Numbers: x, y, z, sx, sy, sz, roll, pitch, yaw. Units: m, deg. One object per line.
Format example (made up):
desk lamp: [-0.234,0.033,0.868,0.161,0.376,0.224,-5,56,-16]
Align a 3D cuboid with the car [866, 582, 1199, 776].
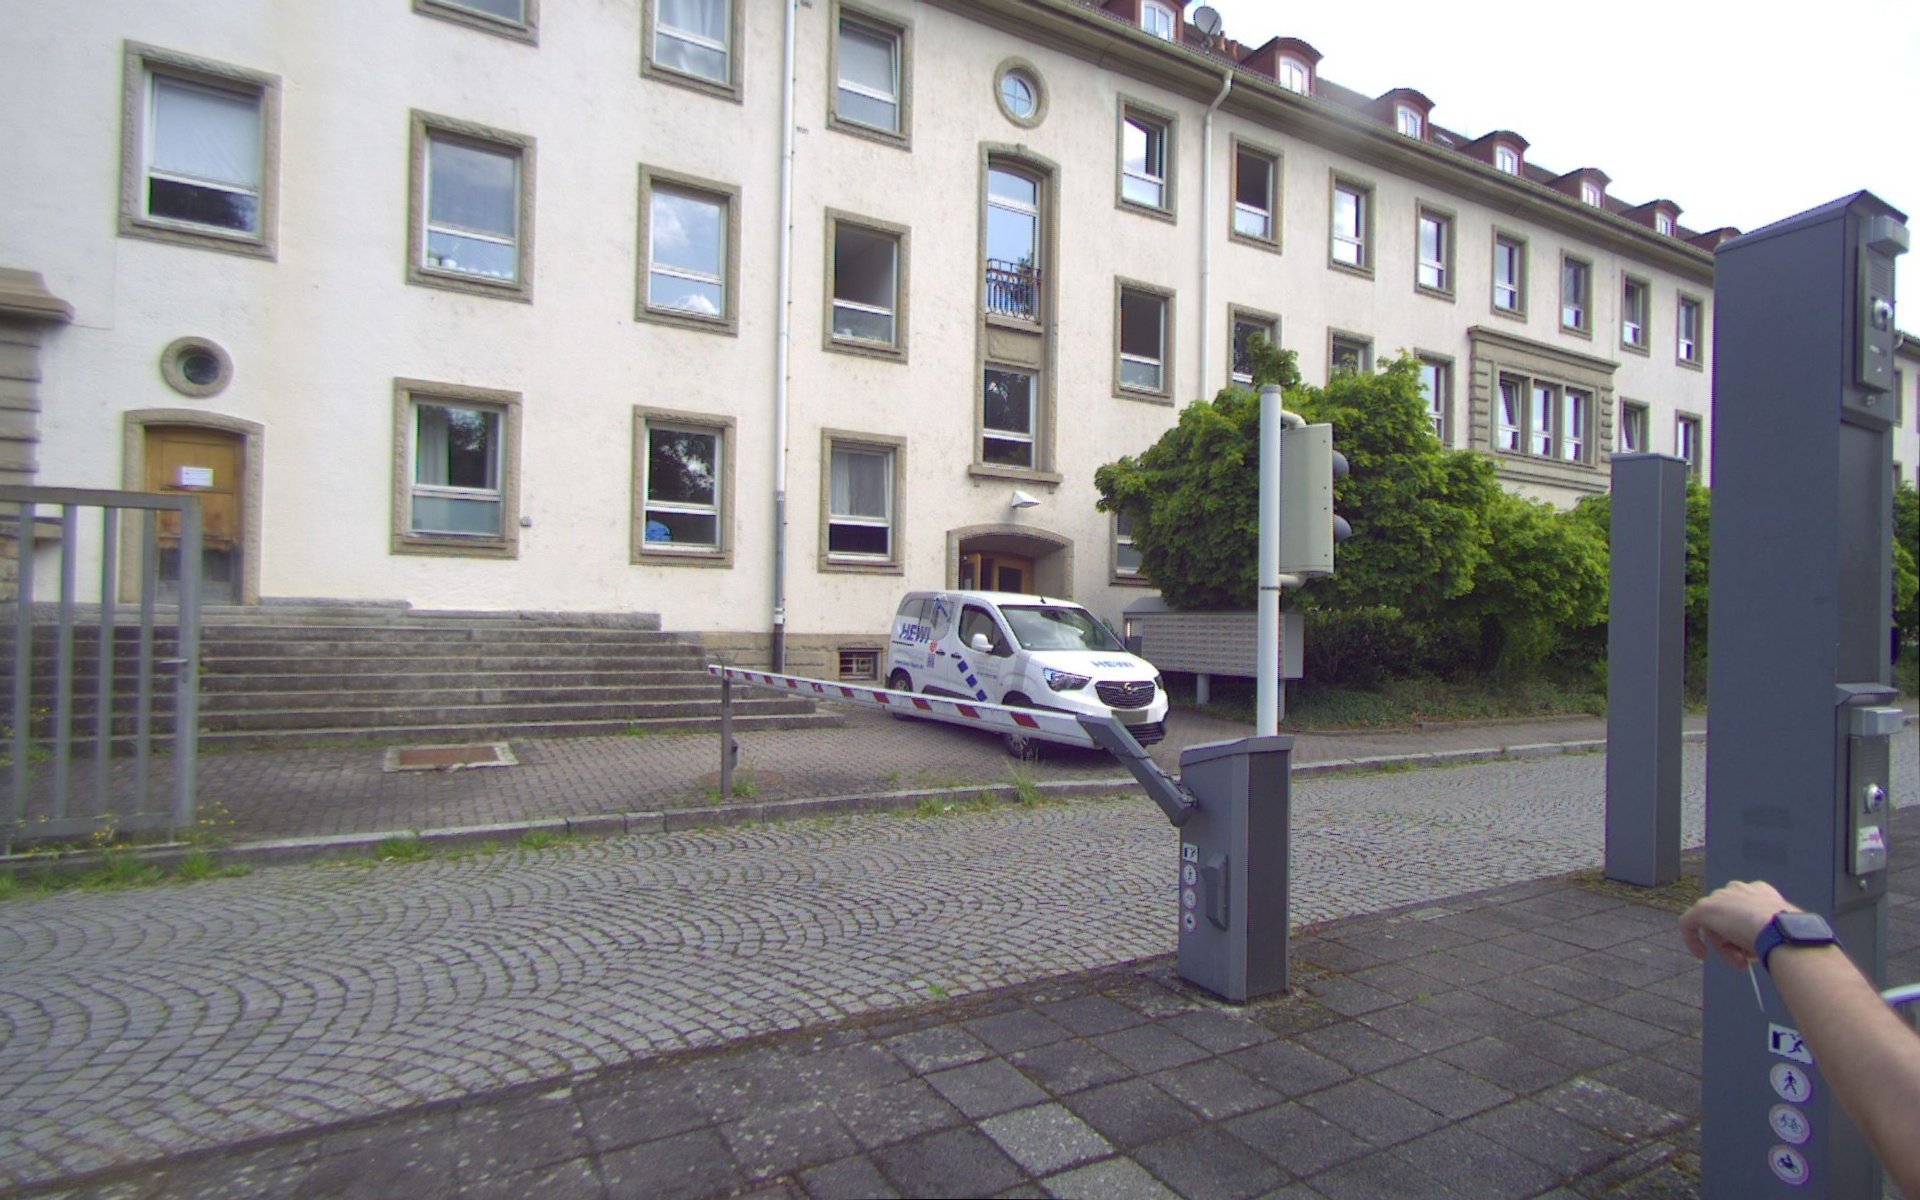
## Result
car: [0.665,0.784,12.490,1.838,1.775,4.410,1,3,-32]
